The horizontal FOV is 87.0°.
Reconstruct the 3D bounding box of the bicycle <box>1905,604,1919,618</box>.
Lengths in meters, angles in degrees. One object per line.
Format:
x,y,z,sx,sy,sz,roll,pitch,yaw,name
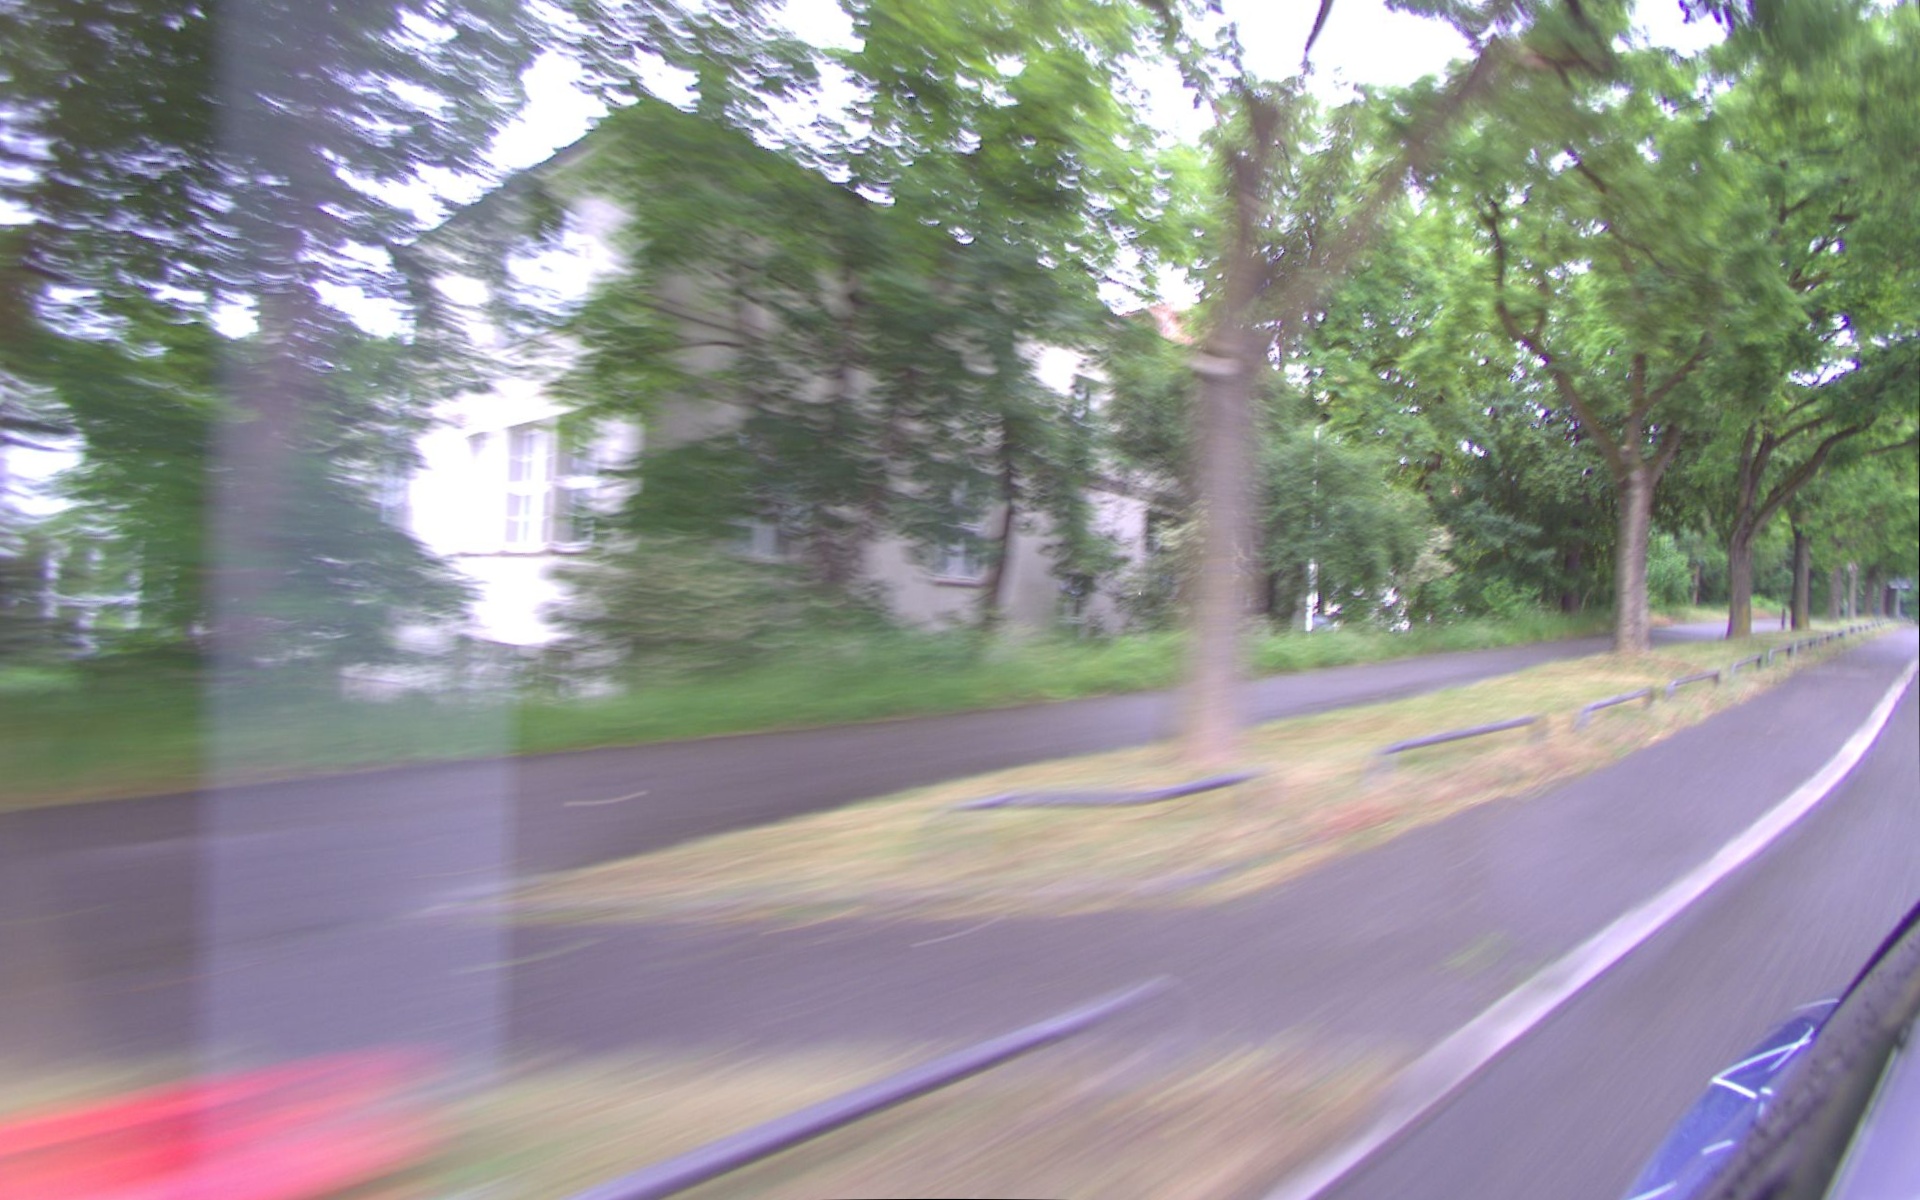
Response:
83.935,0.976,88.724,1.484,1.145,0.549,5,1,40,bicycle
